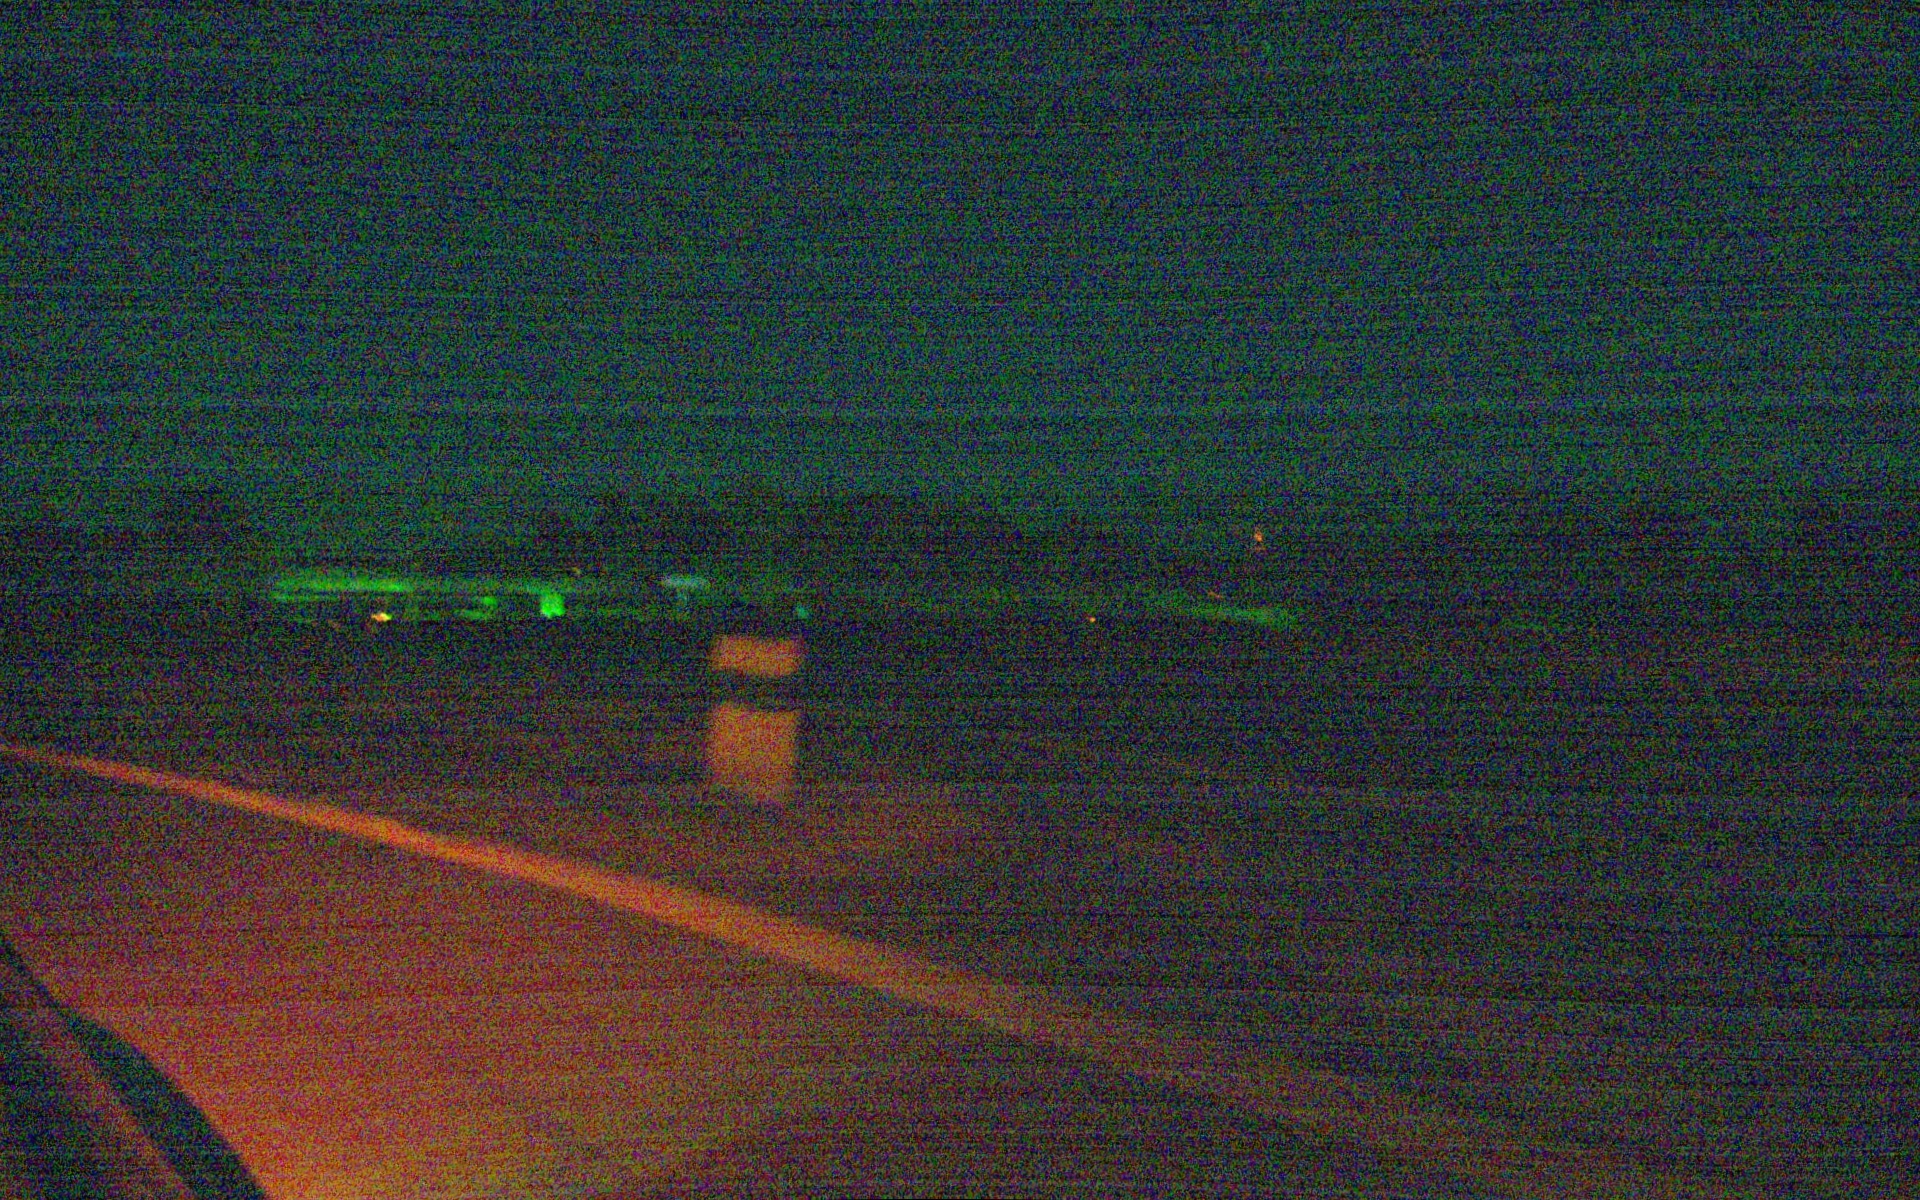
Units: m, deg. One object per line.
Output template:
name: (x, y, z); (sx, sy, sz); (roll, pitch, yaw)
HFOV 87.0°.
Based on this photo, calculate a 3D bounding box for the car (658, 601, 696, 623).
car: (-23.234, 0.991, 83.011); (1.759, 1.770, 4.010); (3, -2, -35)
